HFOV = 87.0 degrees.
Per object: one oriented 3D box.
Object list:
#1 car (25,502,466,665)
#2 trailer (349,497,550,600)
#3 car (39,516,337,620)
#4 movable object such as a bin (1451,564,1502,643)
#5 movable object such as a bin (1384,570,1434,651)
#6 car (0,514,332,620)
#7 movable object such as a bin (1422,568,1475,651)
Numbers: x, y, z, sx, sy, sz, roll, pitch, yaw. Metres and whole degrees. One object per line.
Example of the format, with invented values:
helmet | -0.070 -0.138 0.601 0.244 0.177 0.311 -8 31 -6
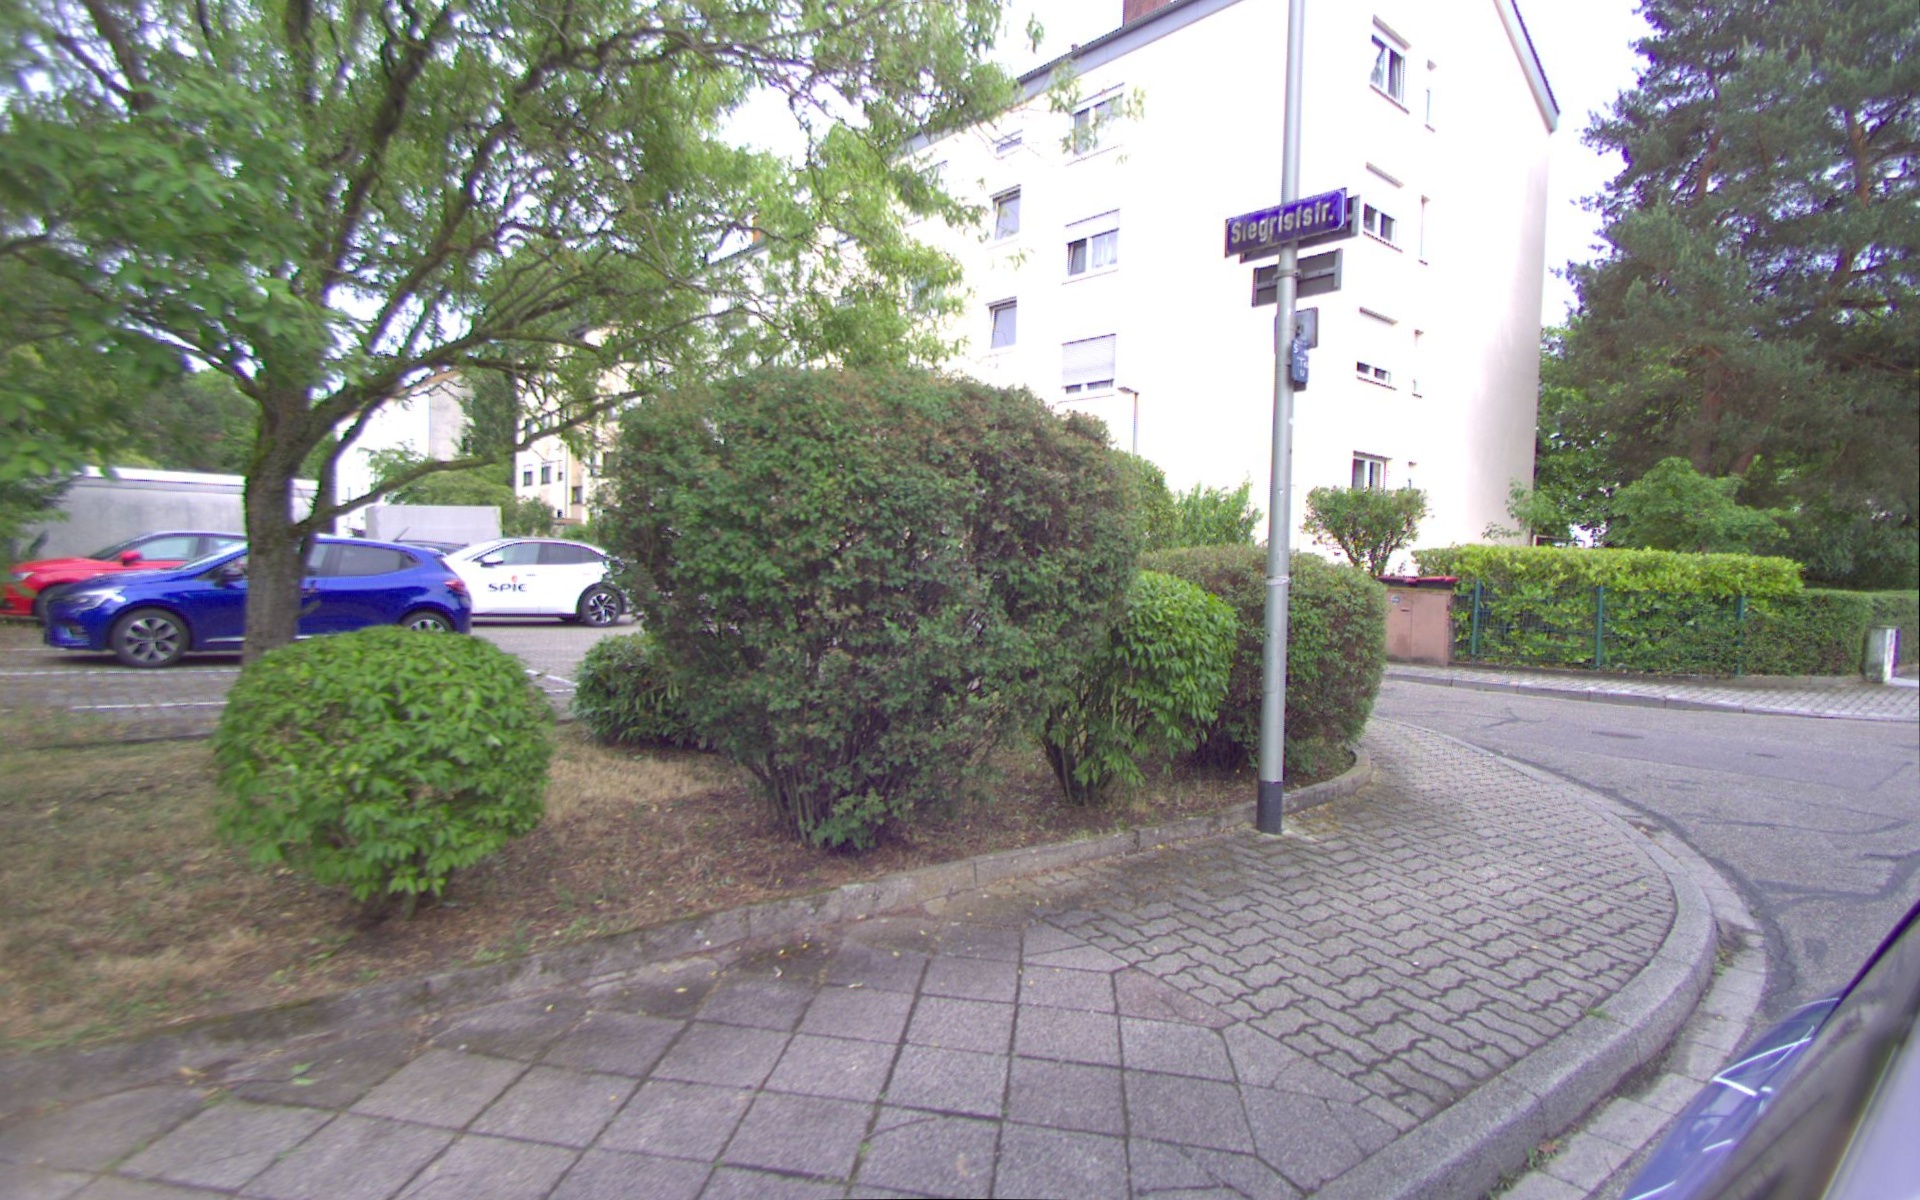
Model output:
car | -7.987 -0.204 11.537 3.842 1.529 2.025 0 2 -41
trailer | -13.731 -1.361 27.381 4.544 2.556 1.940 -1 3 -41
car | -13.260 -0.566 17.506 3.932 1.570 1.997 -1 4 -43
movable object such as a bin | 7.944 0.050 15.571 0.498 1.179 0.514 2 1 -42
movable object such as a bin | 6.914 0.152 15.570 0.498 1.202 0.514 0 2 -42
car | -11.837 -0.478 15.194 3.842 1.397 1.969 0 2 -41
movable object such as a bin | 7.317 0.143 15.158 0.498 1.202 0.514 2 1 -42
